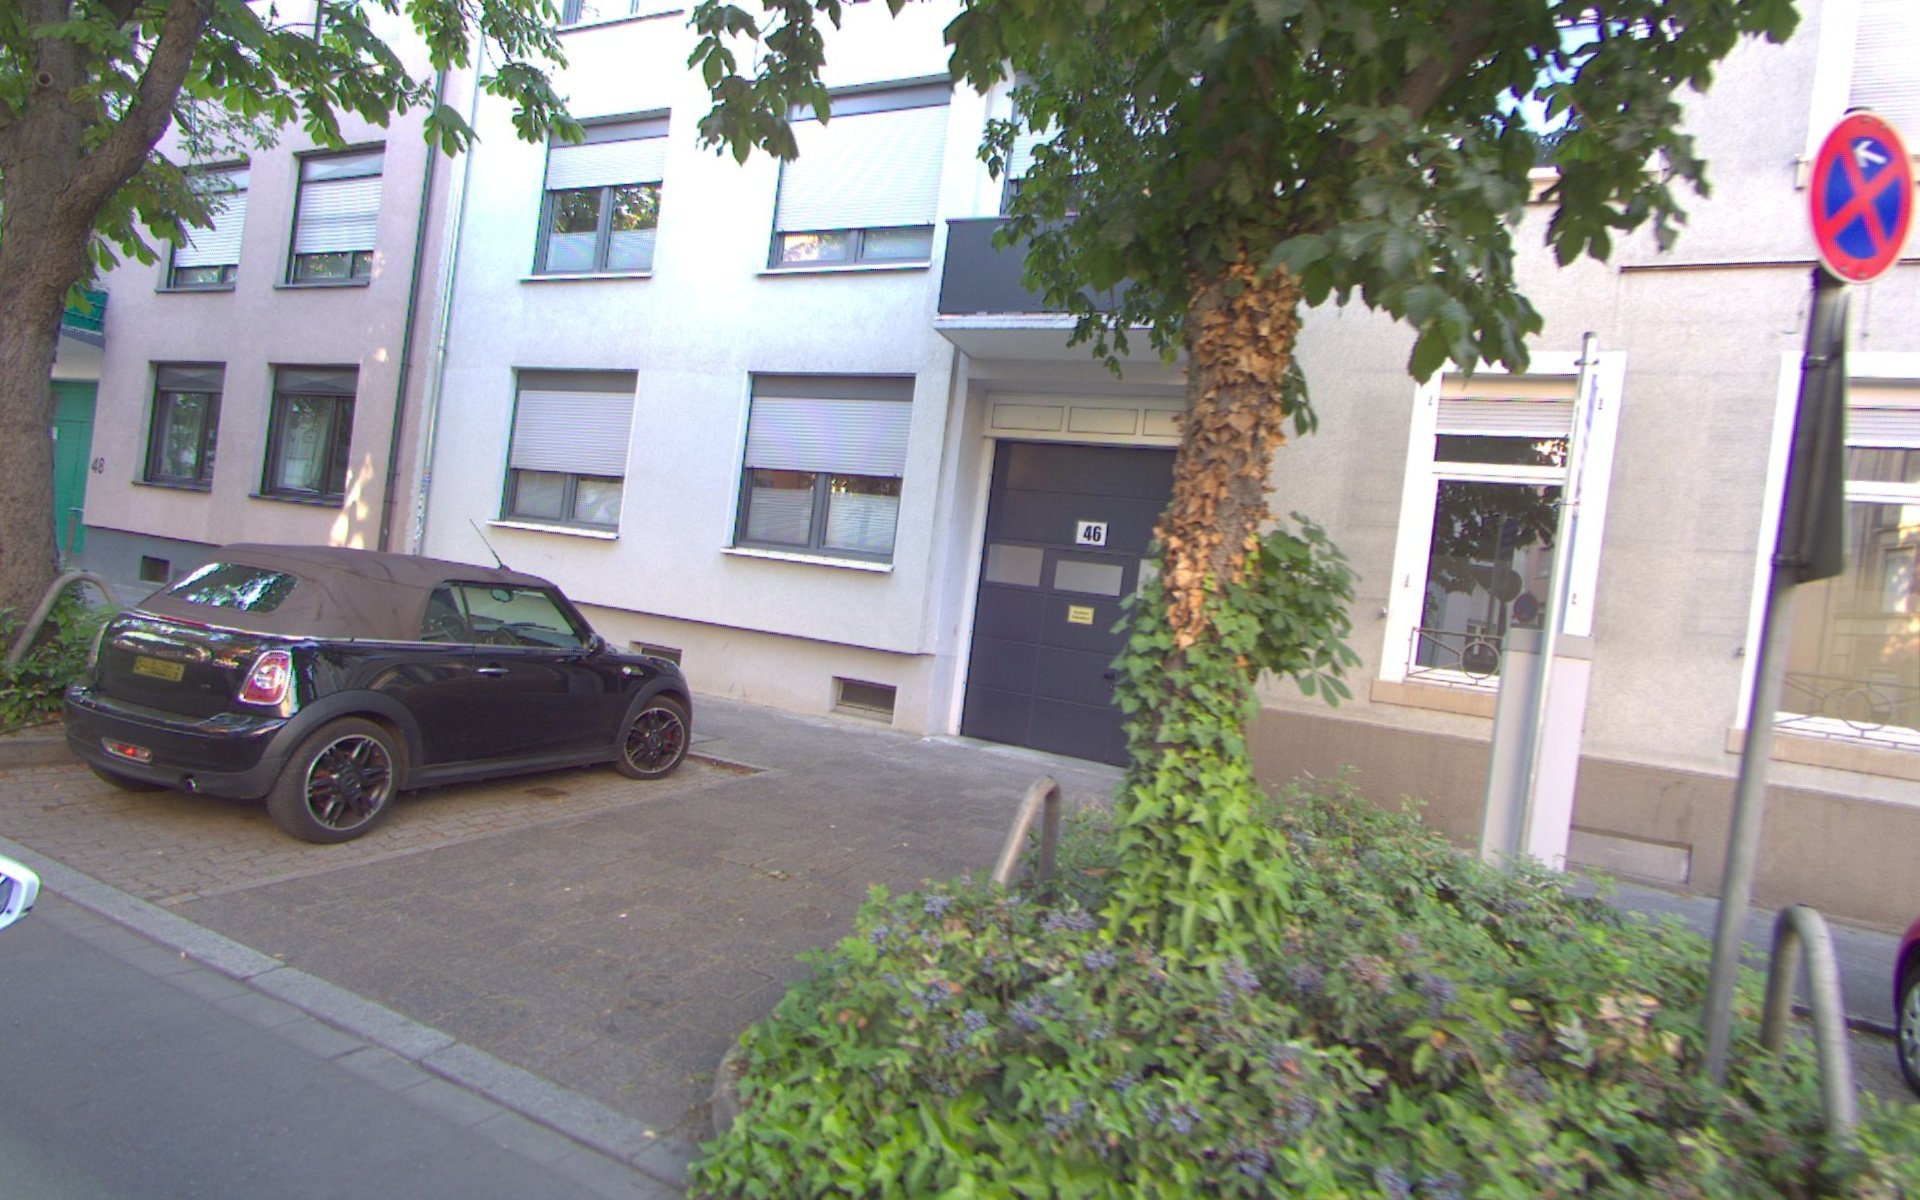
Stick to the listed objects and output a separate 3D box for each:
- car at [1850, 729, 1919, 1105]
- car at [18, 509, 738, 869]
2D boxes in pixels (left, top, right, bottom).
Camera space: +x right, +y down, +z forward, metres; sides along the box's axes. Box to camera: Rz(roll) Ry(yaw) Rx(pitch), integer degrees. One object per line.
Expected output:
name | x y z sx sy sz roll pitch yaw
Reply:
car | 4.222 1.327 2.694 1.537 1.494 3.666 7 0 24
car | -3.197 0.405 6.403 1.597 1.446 3.711 7 2 21
